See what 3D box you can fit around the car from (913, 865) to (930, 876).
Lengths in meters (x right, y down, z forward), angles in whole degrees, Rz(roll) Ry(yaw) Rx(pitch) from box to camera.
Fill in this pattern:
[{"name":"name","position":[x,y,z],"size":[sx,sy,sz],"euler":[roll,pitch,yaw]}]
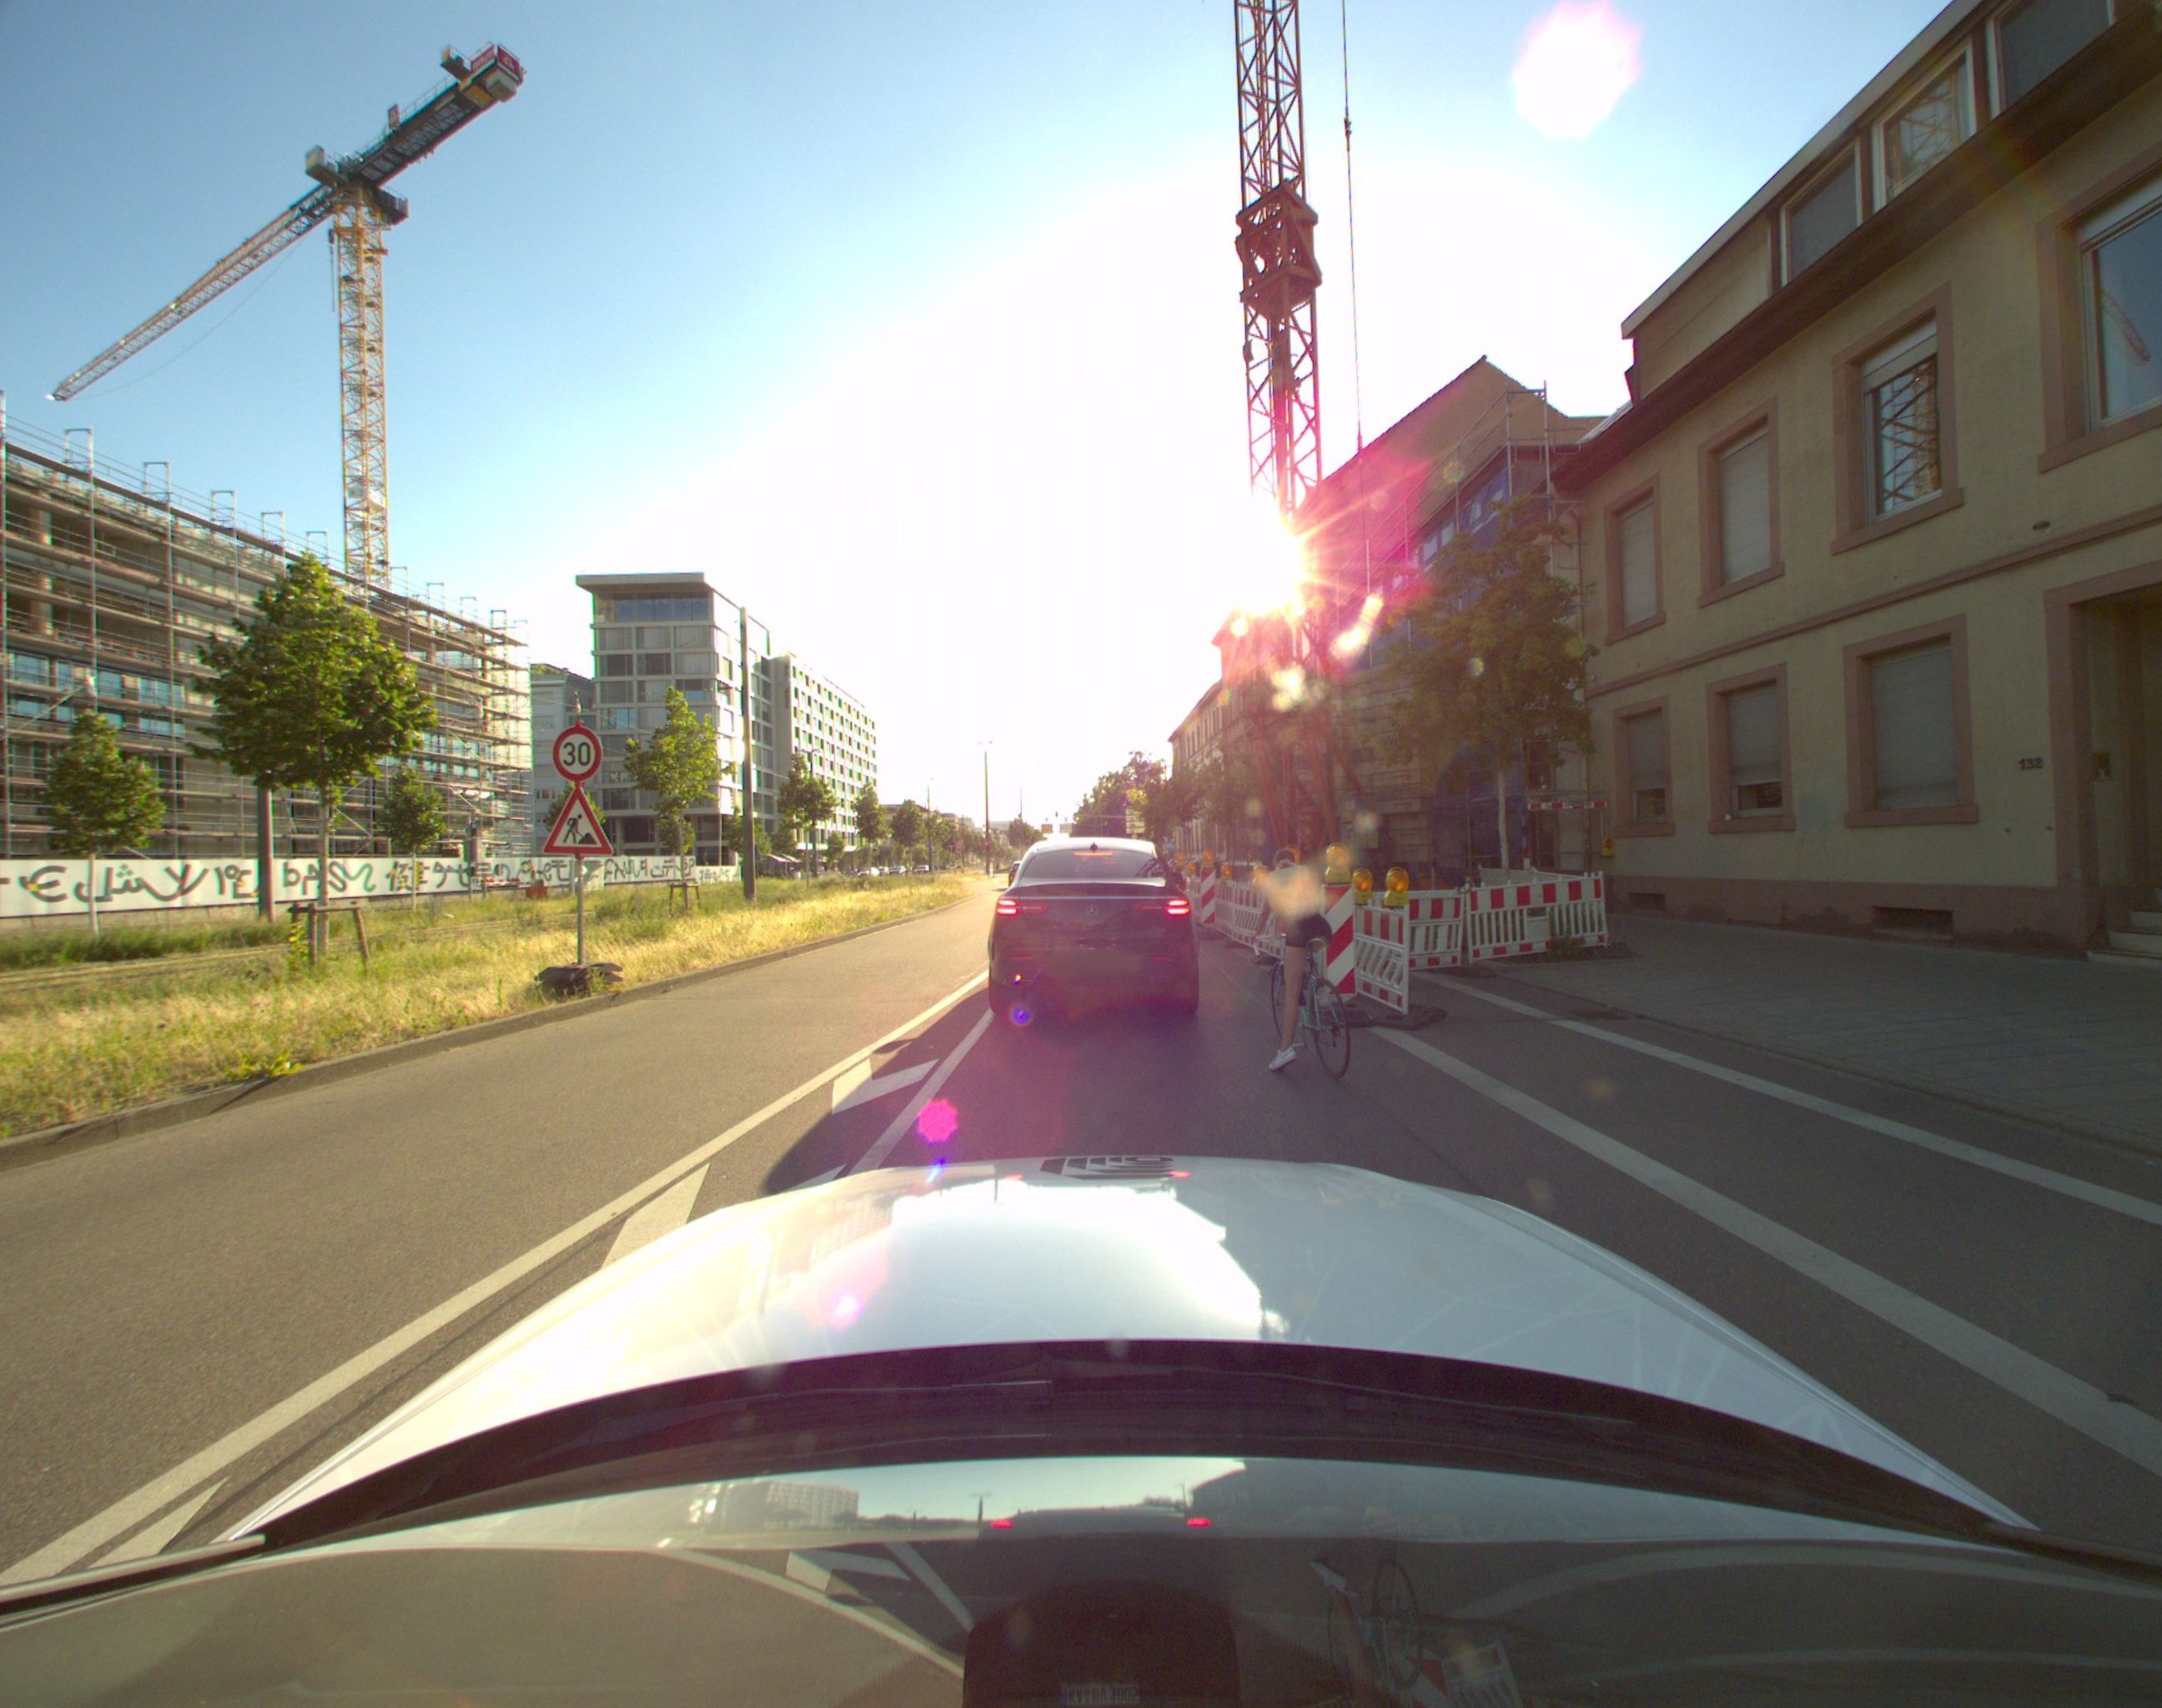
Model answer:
[{"name":"car","position":[-22.603,2.351,115.662],"size":[1.703,1.442,3.581],"euler":[0,-1,0]}]

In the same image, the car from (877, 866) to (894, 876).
[{"name":"car","position":[-29.131,2.577,121.324],"size":[1.703,1.442,3.581],"euler":[0,-1,0]}]

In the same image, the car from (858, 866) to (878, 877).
[{"name":"car","position":[-28.122,2.325,107.717],"size":[1.703,1.442,3.581],"euler":[0,-1,0]}]

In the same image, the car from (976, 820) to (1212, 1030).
[{"name":"car","position":[0.172,0.622,8.915],"size":[1.986,1.772,4.001],"euler":[0,-1,2]}]

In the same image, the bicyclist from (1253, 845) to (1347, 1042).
[{"name":"bicyclist","position":[1.619,0.637,6.093],"size":[0.521,1.395,0.614],"euler":[0,-1,-1]}]

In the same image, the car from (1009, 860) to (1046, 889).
[{"name":"car","position":[-2.791,1.051,43.133],"size":[1.703,1.442,3.581],"euler":[0,-1,0]}]

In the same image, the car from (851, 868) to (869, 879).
[{"name":"car","position":[-32.176,2.825,118.523],"size":[1.703,1.442,3.581],"euler":[0,-1,0]}]

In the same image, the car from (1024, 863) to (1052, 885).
[{"name":"car","position":[-2.886,1.314,54.851],"size":[1.703,1.442,3.581],"euler":[0,-1,0]}]

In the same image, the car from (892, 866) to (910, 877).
[{"name":"car","position":[-24.691,2.336,112.045],"size":[1.703,1.442,3.581],"euler":[0,-1,0]}]

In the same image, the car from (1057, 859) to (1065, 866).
[{"name":"car","position":[-4.428,1.933,183.780],"size":[1.703,1.442,3.581],"euler":[0,-1,0]}]

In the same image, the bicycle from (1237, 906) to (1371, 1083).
[{"name":"bicycle","position":[1.620,0.967,6.169],"size":[0.511,1.052,1.724],"euler":[0,-1,-1]}]

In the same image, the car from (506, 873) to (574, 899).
[{"name":"car","position":[-32.554,1.874,49.117],"size":[1.703,1.442,3.581],"euler":[0,-1,0]}]
